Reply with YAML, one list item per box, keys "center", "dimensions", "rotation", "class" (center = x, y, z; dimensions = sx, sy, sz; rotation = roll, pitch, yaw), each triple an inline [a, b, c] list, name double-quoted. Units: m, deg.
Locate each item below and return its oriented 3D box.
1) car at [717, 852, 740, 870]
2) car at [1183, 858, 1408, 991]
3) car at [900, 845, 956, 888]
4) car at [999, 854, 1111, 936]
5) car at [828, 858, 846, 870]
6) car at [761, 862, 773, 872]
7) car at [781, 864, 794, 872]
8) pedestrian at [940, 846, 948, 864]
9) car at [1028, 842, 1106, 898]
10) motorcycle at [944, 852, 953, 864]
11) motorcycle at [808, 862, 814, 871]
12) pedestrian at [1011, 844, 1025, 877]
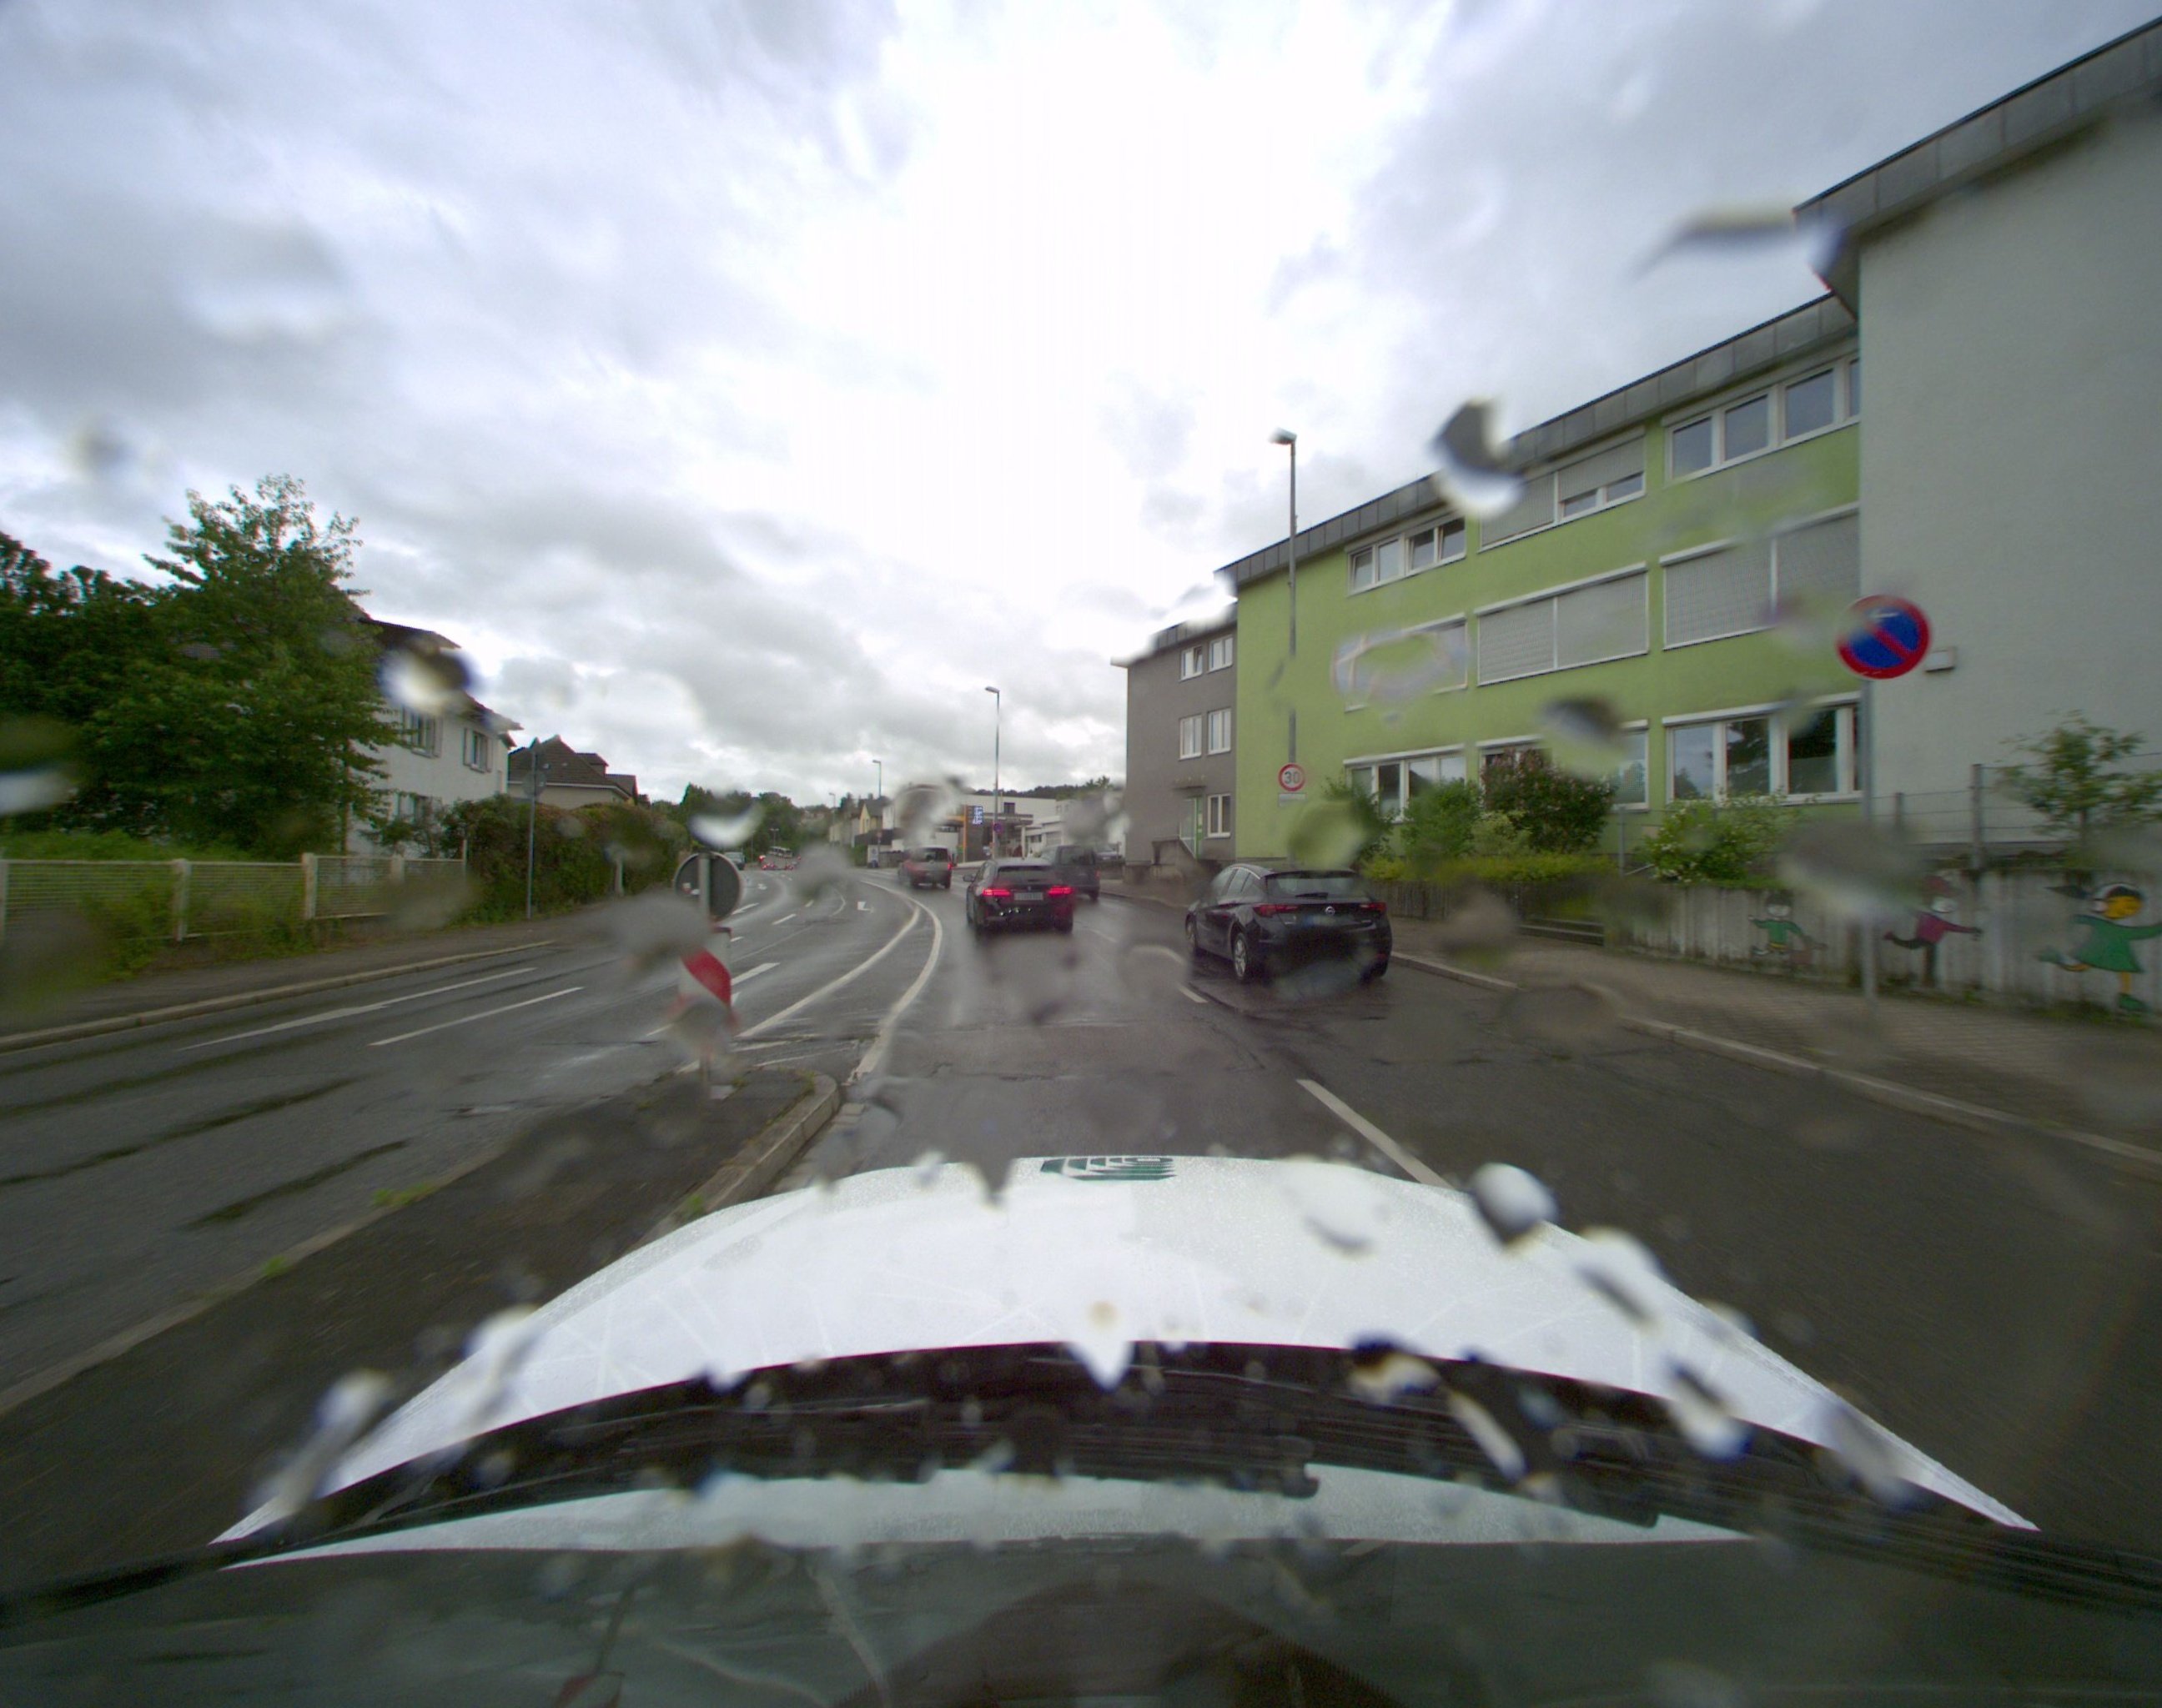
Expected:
- center: [-30.426, 0.610, 70.399]
  dimensions: [1.757, 1.440, 4.097]
  rotation: [1, -2, -23]
  class: "car"
- center: [2.644, 0.787, 11.041]
  dimensions: [1.753, 1.449, 3.994]
  rotation: [0, 0, -4]
  class: "car"
- center: [-6.771, 0.577, 35.712]
  dimensions: [1.998, 1.738, 3.976]
  rotation: [0, -2, -17]
  class: "car"
- center: [-0.662, 0.792, 16.757]
  dimensions: [1.991, 1.484, 3.990]
  rotation: [0, -2, -7]
  class: "car"
- center: [-31.816, 1.356, 106.118]
  dimensions: [1.708, 1.510, 4.498]
  rotation: [1, -2, -24]
  class: "car"
- center: [-58.882, 2.438, 152.911]
  dimensions: [2.000, 1.741, 3.973]
  rotation: [1, -2, -20]
  class: "car"
- center: [-60.785, 2.897, 168.661]
  dimensions: [2.004, 1.741, 3.965]
  rotation: [1, -2, -26]
  class: "car"
- center: [-12.899, 0.096, 76.655]
  dimensions: [0.612, 1.656, 0.581]
  rotation: [1, -2, -24]
  class: "pedestrian"
- center: [-0.573, 0.558, 28.023]
  dimensions: [1.841, 1.767, 3.980]
  rotation: [0, -2, -14]
  class: "car"
- center: [-12.454, 0.402, 76.620]
  dimensions: [0.464, 1.055, 1.379]
  rotation: [1, -2, -24]
  class: "motorcycle"
- center: [-45.864, 2.091, 138.308]
  dimensions: [0.706, 1.509, 2.133]
  rotation: [-2, -1, -23]
  class: "motorcycle"
- center: [-3.828, 0.403, 49.356]
  dimensions: [0.717, 2.014, 0.611]
  rotation: [0, -2, -15]
  class: "pedestrian"
